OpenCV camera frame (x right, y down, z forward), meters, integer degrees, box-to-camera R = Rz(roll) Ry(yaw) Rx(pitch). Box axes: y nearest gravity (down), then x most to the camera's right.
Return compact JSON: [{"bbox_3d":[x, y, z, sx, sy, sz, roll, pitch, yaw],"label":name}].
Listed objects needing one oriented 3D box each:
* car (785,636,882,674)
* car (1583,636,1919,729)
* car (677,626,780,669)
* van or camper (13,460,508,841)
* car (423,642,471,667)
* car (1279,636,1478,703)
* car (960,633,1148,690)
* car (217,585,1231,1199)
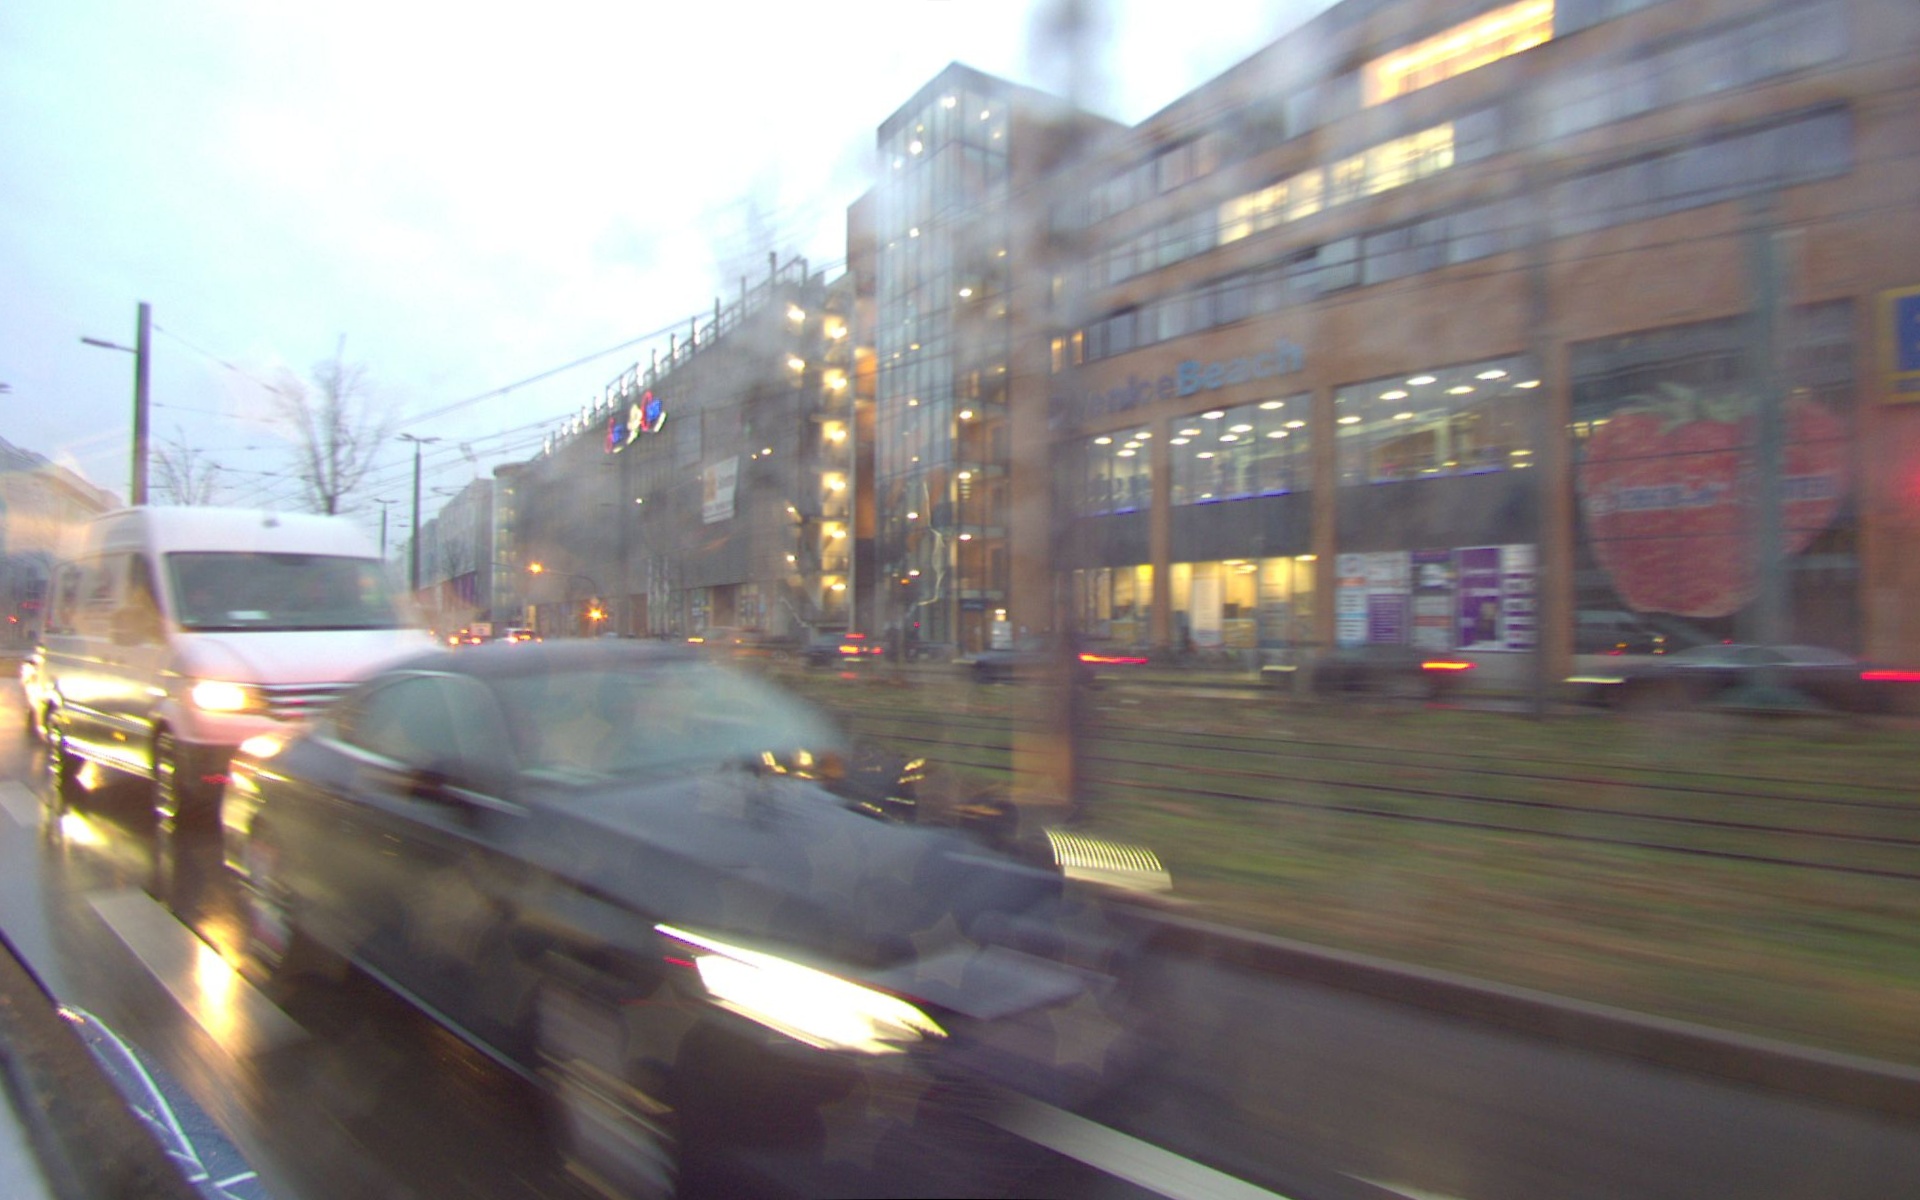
[{"bbox_3d":[-5.110,2.173,40.573,3.898,1.431,1.768,-2,-2,42],"label":"car"},{"bbox_3d":[13.329,1.319,17.222,4.556,1.340,1.611,-1,-1,35],"label":"car"},{"bbox_3d":[-8.126,1.621,35.415,1.766,1.431,3.902,1,-2,-44],"label":"car"},{"bbox_3d":[-6.759,0.413,9.448,5.890,2.551,2.127,-1,-2,38],"label":"van or camper"},{"bbox_3d":[-31.817,3.327,62.730,1.765,1.431,3.905,1,-2,-41],"label":"car"},{"bbox_3d":[10.460,1.679,25.460,4.284,1.515,1.821,-2,-2,40],"label":"car"},{"bbox_3d":[2.240,1.447,24.905,4.370,1.247,1.821,-2,-2,40],"label":"car"},{"bbox_3d":[-1.240,0.709,3.865,4.054,1.355,1.737,-2,-2,41],"label":"car"}]
